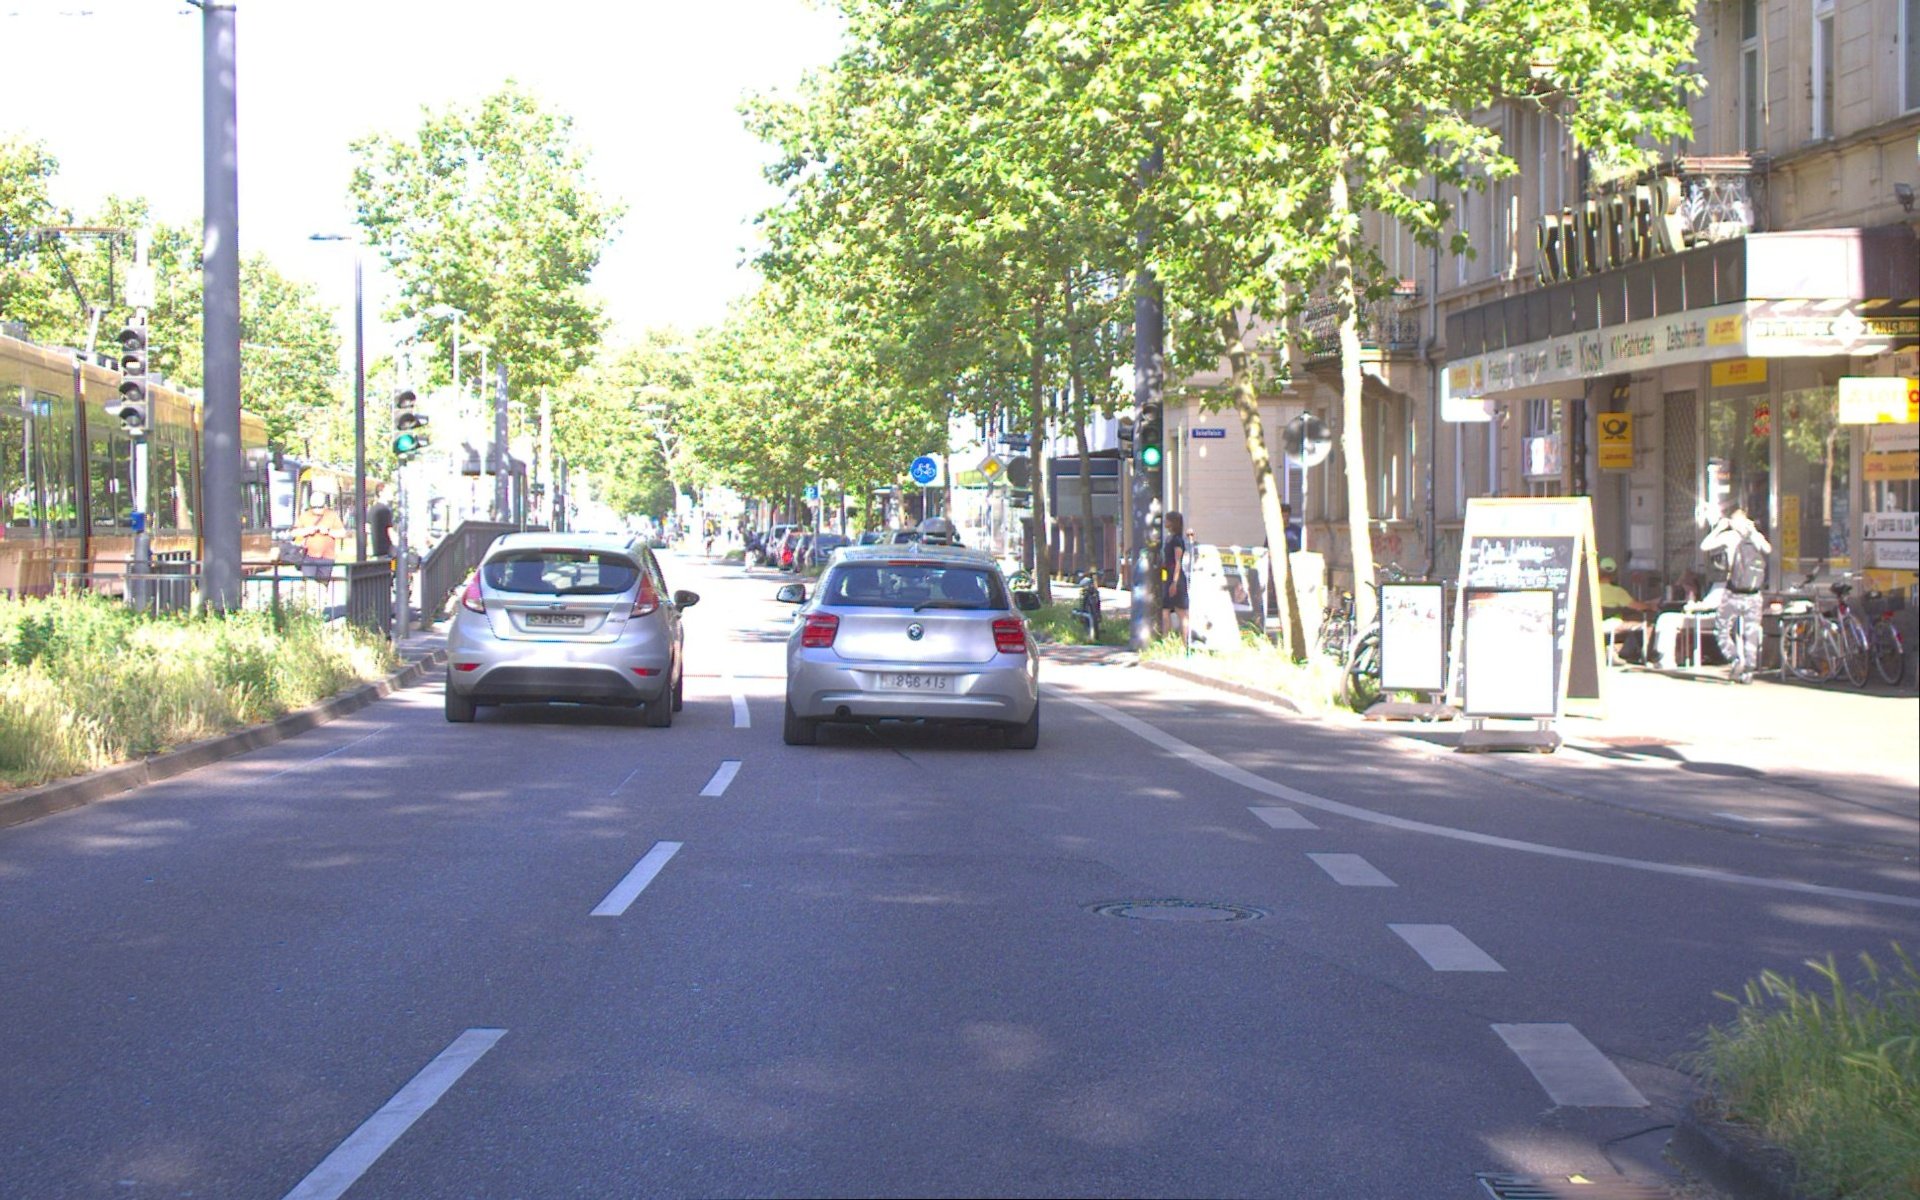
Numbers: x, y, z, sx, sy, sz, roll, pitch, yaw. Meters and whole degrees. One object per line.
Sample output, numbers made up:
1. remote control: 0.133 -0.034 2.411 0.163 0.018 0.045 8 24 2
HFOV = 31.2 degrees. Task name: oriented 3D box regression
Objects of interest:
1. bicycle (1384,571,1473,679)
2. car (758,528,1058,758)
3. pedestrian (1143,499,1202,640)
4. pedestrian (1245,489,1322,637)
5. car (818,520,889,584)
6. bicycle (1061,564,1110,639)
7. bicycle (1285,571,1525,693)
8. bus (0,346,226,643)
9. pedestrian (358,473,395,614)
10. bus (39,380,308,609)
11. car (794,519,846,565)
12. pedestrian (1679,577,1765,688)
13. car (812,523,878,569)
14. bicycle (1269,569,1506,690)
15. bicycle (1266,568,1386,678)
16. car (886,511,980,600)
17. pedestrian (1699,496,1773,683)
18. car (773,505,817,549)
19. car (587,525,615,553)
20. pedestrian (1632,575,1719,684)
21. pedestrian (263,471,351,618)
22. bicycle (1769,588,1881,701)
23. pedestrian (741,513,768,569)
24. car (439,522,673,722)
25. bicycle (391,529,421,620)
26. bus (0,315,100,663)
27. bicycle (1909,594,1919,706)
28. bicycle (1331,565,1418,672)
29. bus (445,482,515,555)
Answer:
1. bicycle: 4.651 0.232 34.207 0.442 0.990 1.689 2 2 -6
2. car: -0.461 0.247 25.000 1.762 1.427 4.001 2 2 -6
3. pedestrian: 2.721 -0.397 44.105 0.642 1.765 0.869 2 2 1
4. pedestrian: 4.490 -0.520 47.712 0.882 2.006 0.857 2 2 -2
5. car: -2.971 -1.354 95.492 1.691 1.652 4.040 0 2 -6
6. bicycle: 1.748 0.011 48.038 0.427 0.967 1.751 2 2 -6
7. bicycle: 3.905 0.280 30.176 2.003 0.990 0.444 2 2 -7
8. bus: -12.019 -1.365 45.981 2.868 3.432 12.217 1 1 -5
9. pedestrian: -7.927 -0.767 46.662 0.450 1.896 0.585 0 1 -13
10. bus: -13.015 -1.721 57.893 2.868 3.432 11.613 1 1 -5
11. car: -5.177 -2.150 126.729 1.669 1.546 4.001 2 2 -5
12. pedestrian: 8.239 0.351 37.200 0.645 1.157 0.611 2 2 -16
13. car: -4.091 -1.903 121.635 1.993 1.504 4.598 2 1 -5
14. bicycle: 3.816 0.262 30.689 2.013 0.990 0.444 2 2 -7
15. bicycle: 3.588 0.219 33.806 0.442 0.990 1.689 2 2 -20
16. car: -0.668 -1.064 80.337 1.754 1.958 4.738 1 2 -6
17. pedestrian: 7.652 -0.105 33.889 0.468 1.804 0.773 3 2 26
18. car: -7.346 -3.244 152.544 1.724 1.874 4.001 2 1 -5
19. car: -27.198 -4.638 260.637 1.993 2.006 4.001 2 2 -5
20. pedestrian: 7.852 0.321 37.715 0.771 1.157 0.469 1 2 -30
21. pedestrian: -8.673 -0.740 45.706 1.072 1.909 1.127 0 1 -7
22. bicycle: 8.319 0.416 33.125 0.442 0.990 1.689 2 2 -6
23. pedestrian: -7.468 -2.160 124.995 0.838 2.006 0.648 2 2 2
24. car: -3.105 0.120 26.861 1.646 1.358 3.761 2 2 -5
25. bicycle: -7.547 -0.354 46.830 0.328 1.210 1.829 0 1 -11
26. bus: -10.864 -1.095 33.376 2.868 3.432 13.220 1 1 -5
27. bicycle: 8.896 0.480 30.181 0.442 0.990 1.689 2 2 -6
28. bicycle: 4.106 0.171 34.127 0.442 0.990 1.689 2 2 -6
29. bus: -25.362 -4.373 182.261 2.749 3.613 18.852 0 2 -5
